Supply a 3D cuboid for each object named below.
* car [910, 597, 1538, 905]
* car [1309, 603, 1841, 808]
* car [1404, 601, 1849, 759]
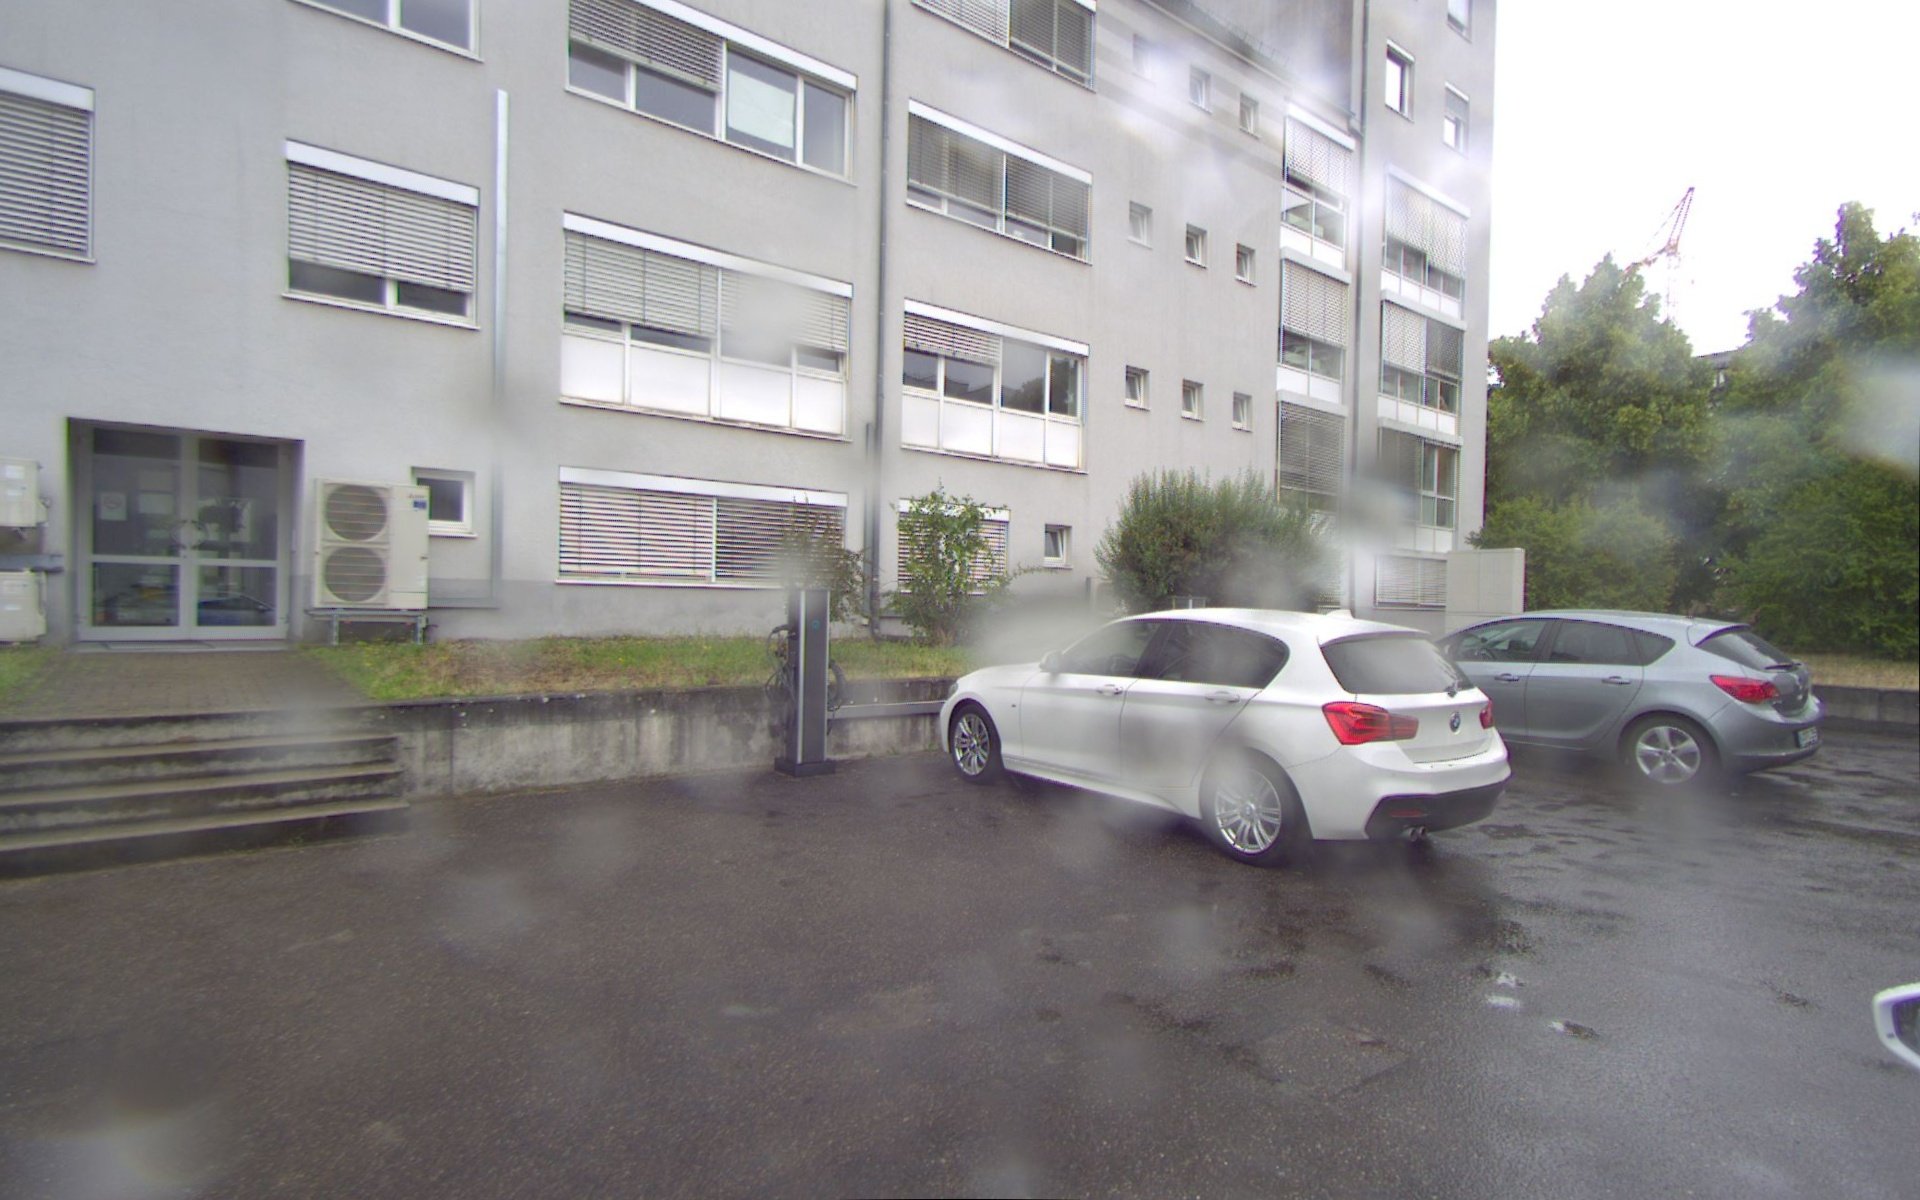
[{"bbox_3d":[1.517,0.759,7.107,1.737,1.453,4.109,2,0,-37],"label":"car"},{"bbox_3d":[5.802,0.823,9.958,1.805,1.503,4.135,0,1,-37],"label":"car"},{"bbox_3d":[7.906,0.810,12.313,1.804,1.351,4.137,0,3,-35],"label":"car"}]
